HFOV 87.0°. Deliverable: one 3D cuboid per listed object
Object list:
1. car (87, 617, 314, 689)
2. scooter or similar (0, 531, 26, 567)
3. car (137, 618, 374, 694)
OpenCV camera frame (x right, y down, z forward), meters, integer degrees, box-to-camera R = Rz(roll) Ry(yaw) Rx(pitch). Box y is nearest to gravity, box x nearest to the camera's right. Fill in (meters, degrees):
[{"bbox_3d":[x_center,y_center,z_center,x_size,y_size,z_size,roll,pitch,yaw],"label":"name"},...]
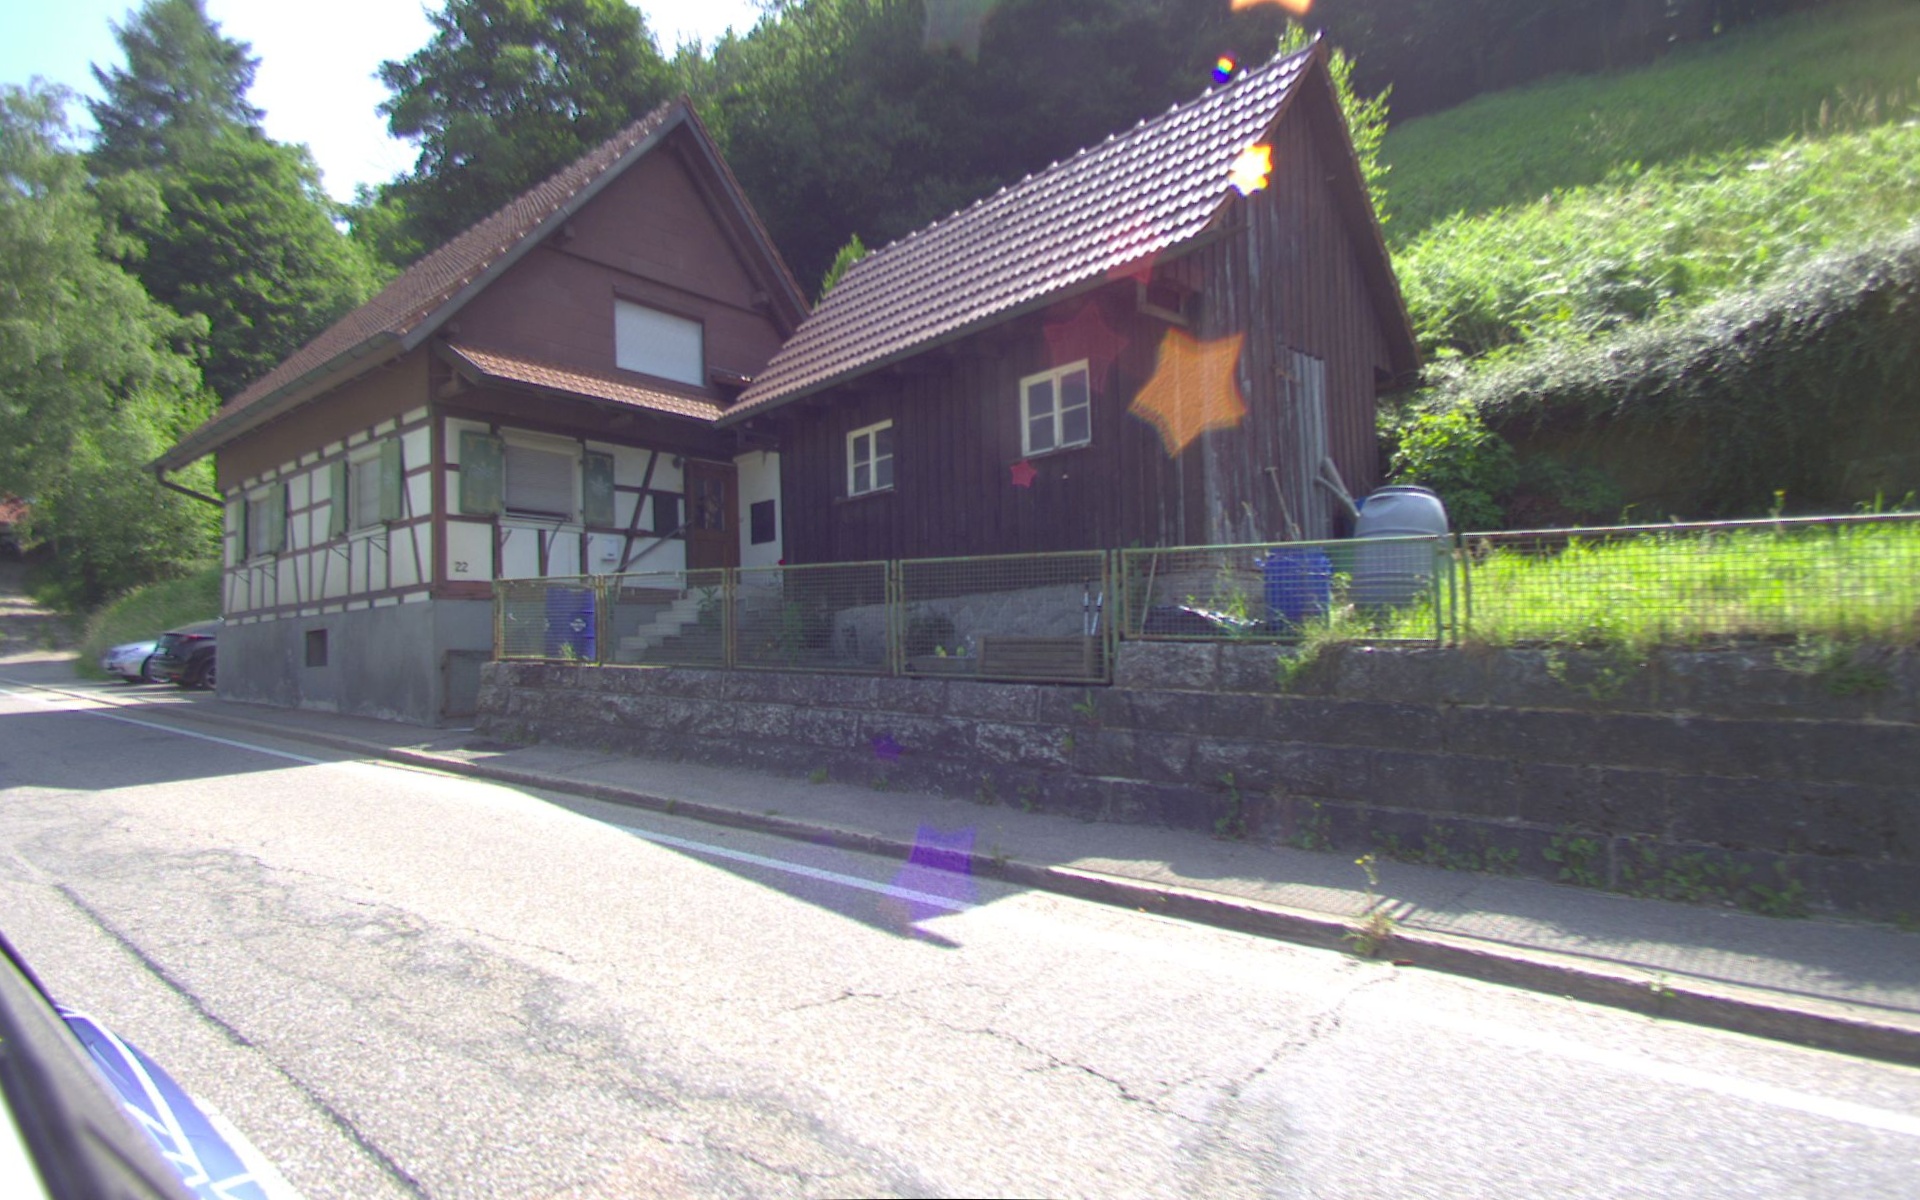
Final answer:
[{"bbox_3d":[-17.239,1.140,23.136,1.853,1.427,3.784,-1,0,35],"label":"car"},{"bbox_3d":[-59.437,-3.123,62.566,4.404,2.041,1.957,-1,3,42],"label":"scooter or similar"},{"bbox_3d":[-15.012,1.142,21.739,1.859,1.444,3.783,0,-1,35],"label":"car"}]
